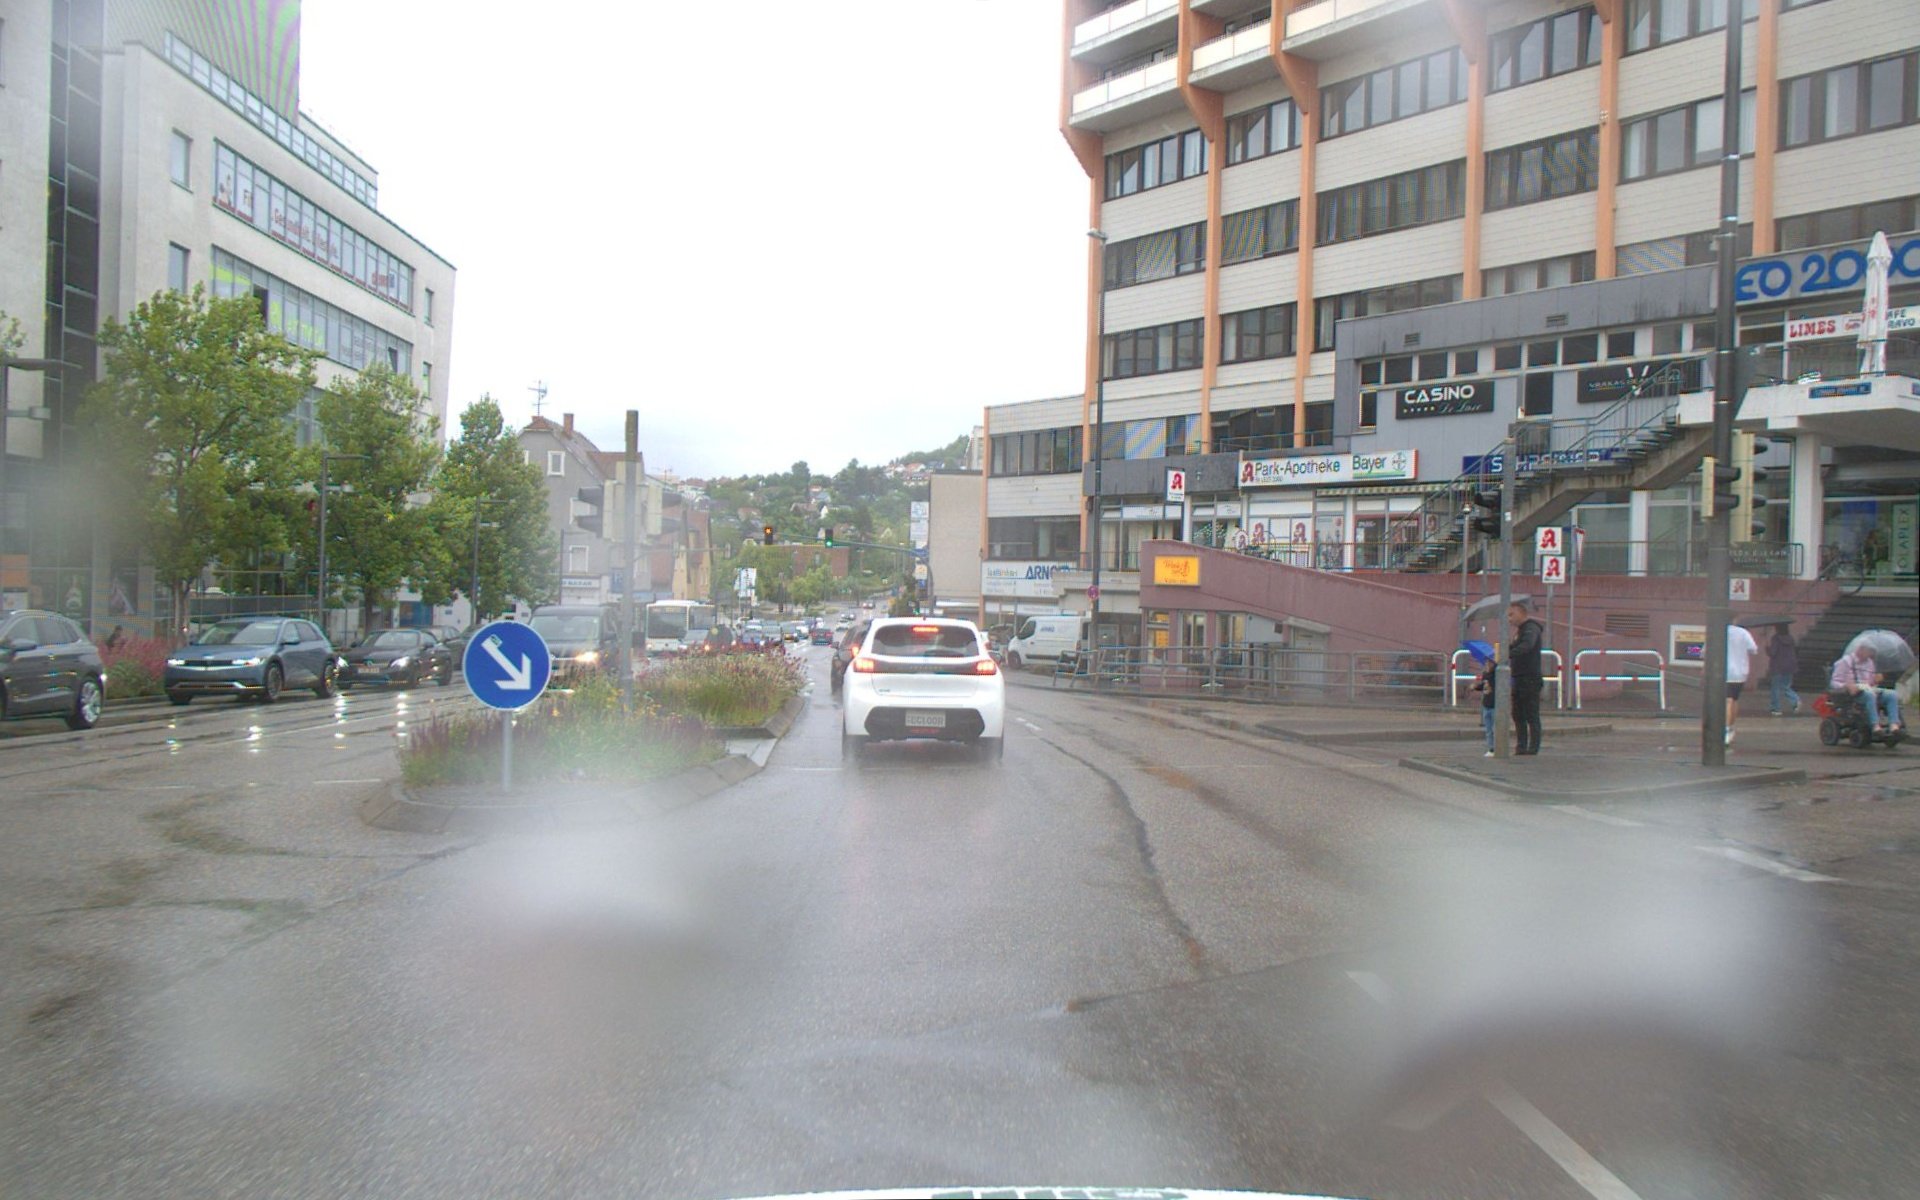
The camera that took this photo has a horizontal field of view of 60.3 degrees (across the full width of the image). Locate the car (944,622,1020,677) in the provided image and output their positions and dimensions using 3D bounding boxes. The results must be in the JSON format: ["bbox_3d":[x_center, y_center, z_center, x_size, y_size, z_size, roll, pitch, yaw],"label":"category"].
[{"bbox_3d":[0.600,1.400,47.361,1.874,1.425,3.455,1,0,-4],"label":"car"}]

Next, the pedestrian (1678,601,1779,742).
[{"bbox_3d":[9.766,0.883,21.059,0.811,1.720,1.129,1,0,6],"label":"pedestrian"}]

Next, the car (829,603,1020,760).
[{"bbox_3d":[-0.449,0.867,18.214,1.835,1.488,3.870,2,-2,-3],"label":"car"}]

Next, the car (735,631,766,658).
[{"bbox_3d":[-13.238,2.795,104.532,1.780,1.582,3.996,0,0,-5],"label":"car"}]

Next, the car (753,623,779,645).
[{"bbox_3d":[-14.581,2.569,124.496,1.712,1.582,3.996,0,0,-4],"label":"car"}]

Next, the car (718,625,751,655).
[{"bbox_3d":[-12.528,2.200,91.926,1.781,1.582,3.992,0,0,-8],"label":"car"}]

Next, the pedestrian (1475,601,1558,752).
[{"bbox_3d":[6.136,0.832,18.253,0.693,1.635,0.655,0,0,0],"label":"pedestrian"}]

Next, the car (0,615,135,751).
[{"bbox_3d":[-12.610,1.066,21.237,1.838,1.622,4.522,-3,0,-2],"label":"car"}]

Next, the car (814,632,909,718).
[{"bbox_3d":[-2.012,1.522,34.760,1.778,1.556,3.812,-2,0,-1],"label":"car"}]

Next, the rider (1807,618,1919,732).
[{"bbox_3d":[11.261,0.913,20.519,0.904,1.307,1.090,-2,1,-3],"label":"rider"}]

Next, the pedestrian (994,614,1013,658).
[{"bbox_3d":[1.874,1.544,71.447,0.635,1.854,0.575,0,-1,-36],"label":"pedestrian"}]

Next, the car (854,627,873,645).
[{"bbox_3d":[-9.176,3.422,156.948,1.712,1.582,3.996,0,0,-4],"label":"car"}]

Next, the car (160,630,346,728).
[{"bbox_3d":[-13.650,1.470,32.253,1.738,1.622,4.586,-3,0,-2],"label":"car"}]

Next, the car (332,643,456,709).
[{"bbox_3d":[-13.599,1.781,39.973,1.691,1.412,4.596,0,-1,-4],"label":"car"}]

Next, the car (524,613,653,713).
[{"bbox_3d":[-7.512,1.274,33.825,1.954,1.855,4.294,-1,-2,-4],"label":"car"}]

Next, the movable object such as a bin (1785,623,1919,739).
[{"bbox_3d":[11.245,0.988,20.616,1.107,1.355,1.453,-2,-1,-3],"label":"movable object such as a bin"}]

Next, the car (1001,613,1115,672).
[{"bbox_3d":[3.993,1.693,68.146,1.980,2.265,4.907,0,0,-39],"label":"car"}]

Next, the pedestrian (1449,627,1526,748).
[{"bbox_3d":[6.103,1.005,19.166,0.693,1.369,0.655,0,-1,0],"label":"pedestrian"}]

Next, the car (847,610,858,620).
[{"bbox_3d":[-16.868,2.345,258.970,1.712,1.582,3.996,0,0,-4],"label":"car"}]

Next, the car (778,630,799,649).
[{"bbox_3d":[-15.370,3.555,148.441,1.712,1.582,3.996,0,0,-4],"label":"car"}]

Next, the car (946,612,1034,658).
[{"bbox_3d":[1.297,1.516,73.162,1.869,1.912,4.085,0,0,-35],"label":"car"}]

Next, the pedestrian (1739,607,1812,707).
[{"bbox_3d":[14.213,0.983,28.855,0.778,1.698,0.930,1,0,-2],"label":"pedestrian"}]

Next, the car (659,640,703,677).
[{"bbox_3d":[-13.069,2.733,77.621,1.857,1.582,3.993,0,0,-7],"label":"car"}]

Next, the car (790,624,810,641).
[{"bbox_3d":[-15.685,3.172,161.843,1.711,1.582,3.998,0,0,-2],"label":"car"}]

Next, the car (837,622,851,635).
[{"bbox_3d":[-14.249,3.508,203.860,1.712,1.582,3.996,0,0,-4],"label":"car"}]

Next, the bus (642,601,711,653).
[{"bbox_3d":[-16.332,1.485,95.954,2.880,2.832,9.498,0,0,-3],"label":"bus"}]
